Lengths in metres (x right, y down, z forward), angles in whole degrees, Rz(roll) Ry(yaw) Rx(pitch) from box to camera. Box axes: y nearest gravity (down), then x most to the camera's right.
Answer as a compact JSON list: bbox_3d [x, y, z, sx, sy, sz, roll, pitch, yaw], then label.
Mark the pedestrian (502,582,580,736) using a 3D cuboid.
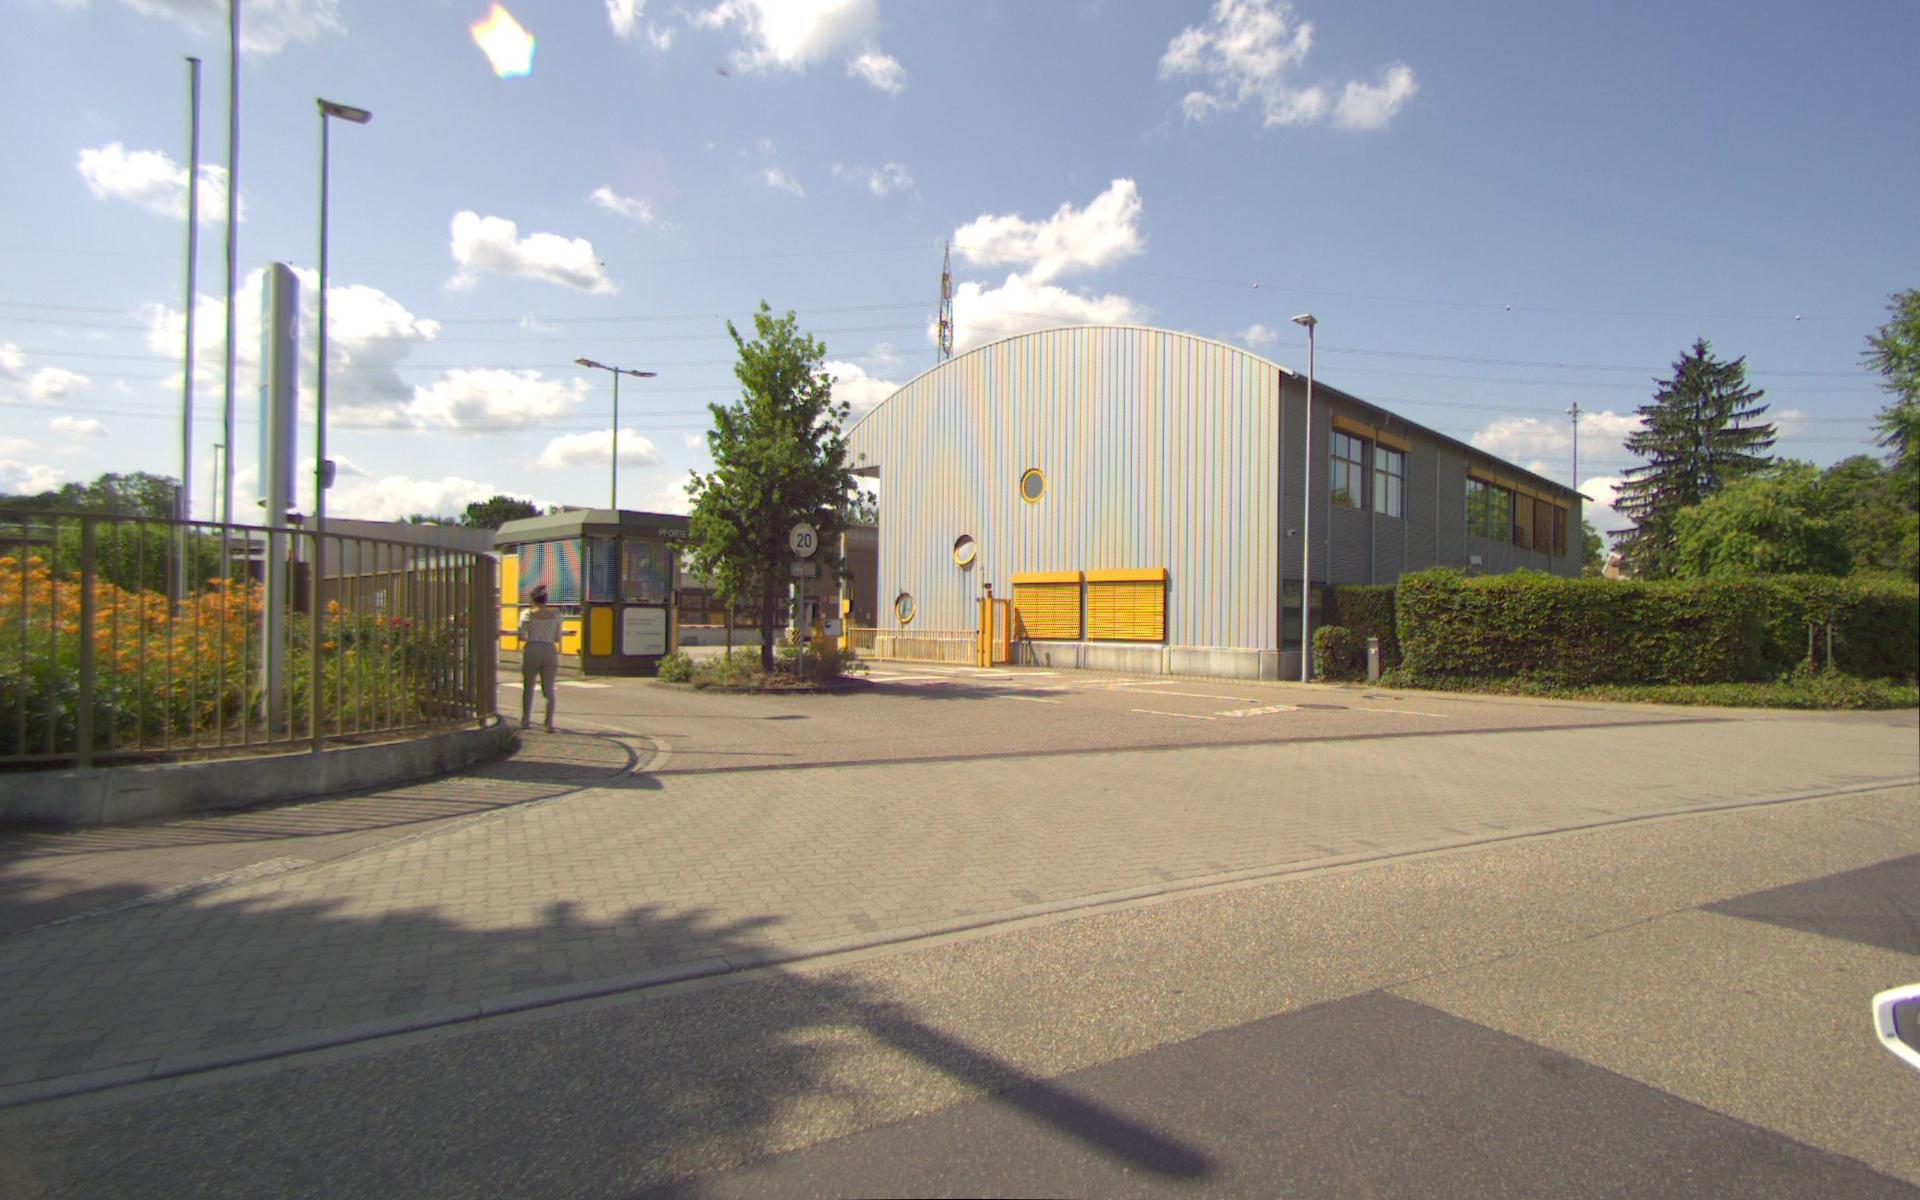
[{"bbox_3d":[-4.850,0.681,11.614,0.724,1.714,0.545,3,-2,-27],"label":"pedestrian"}]
